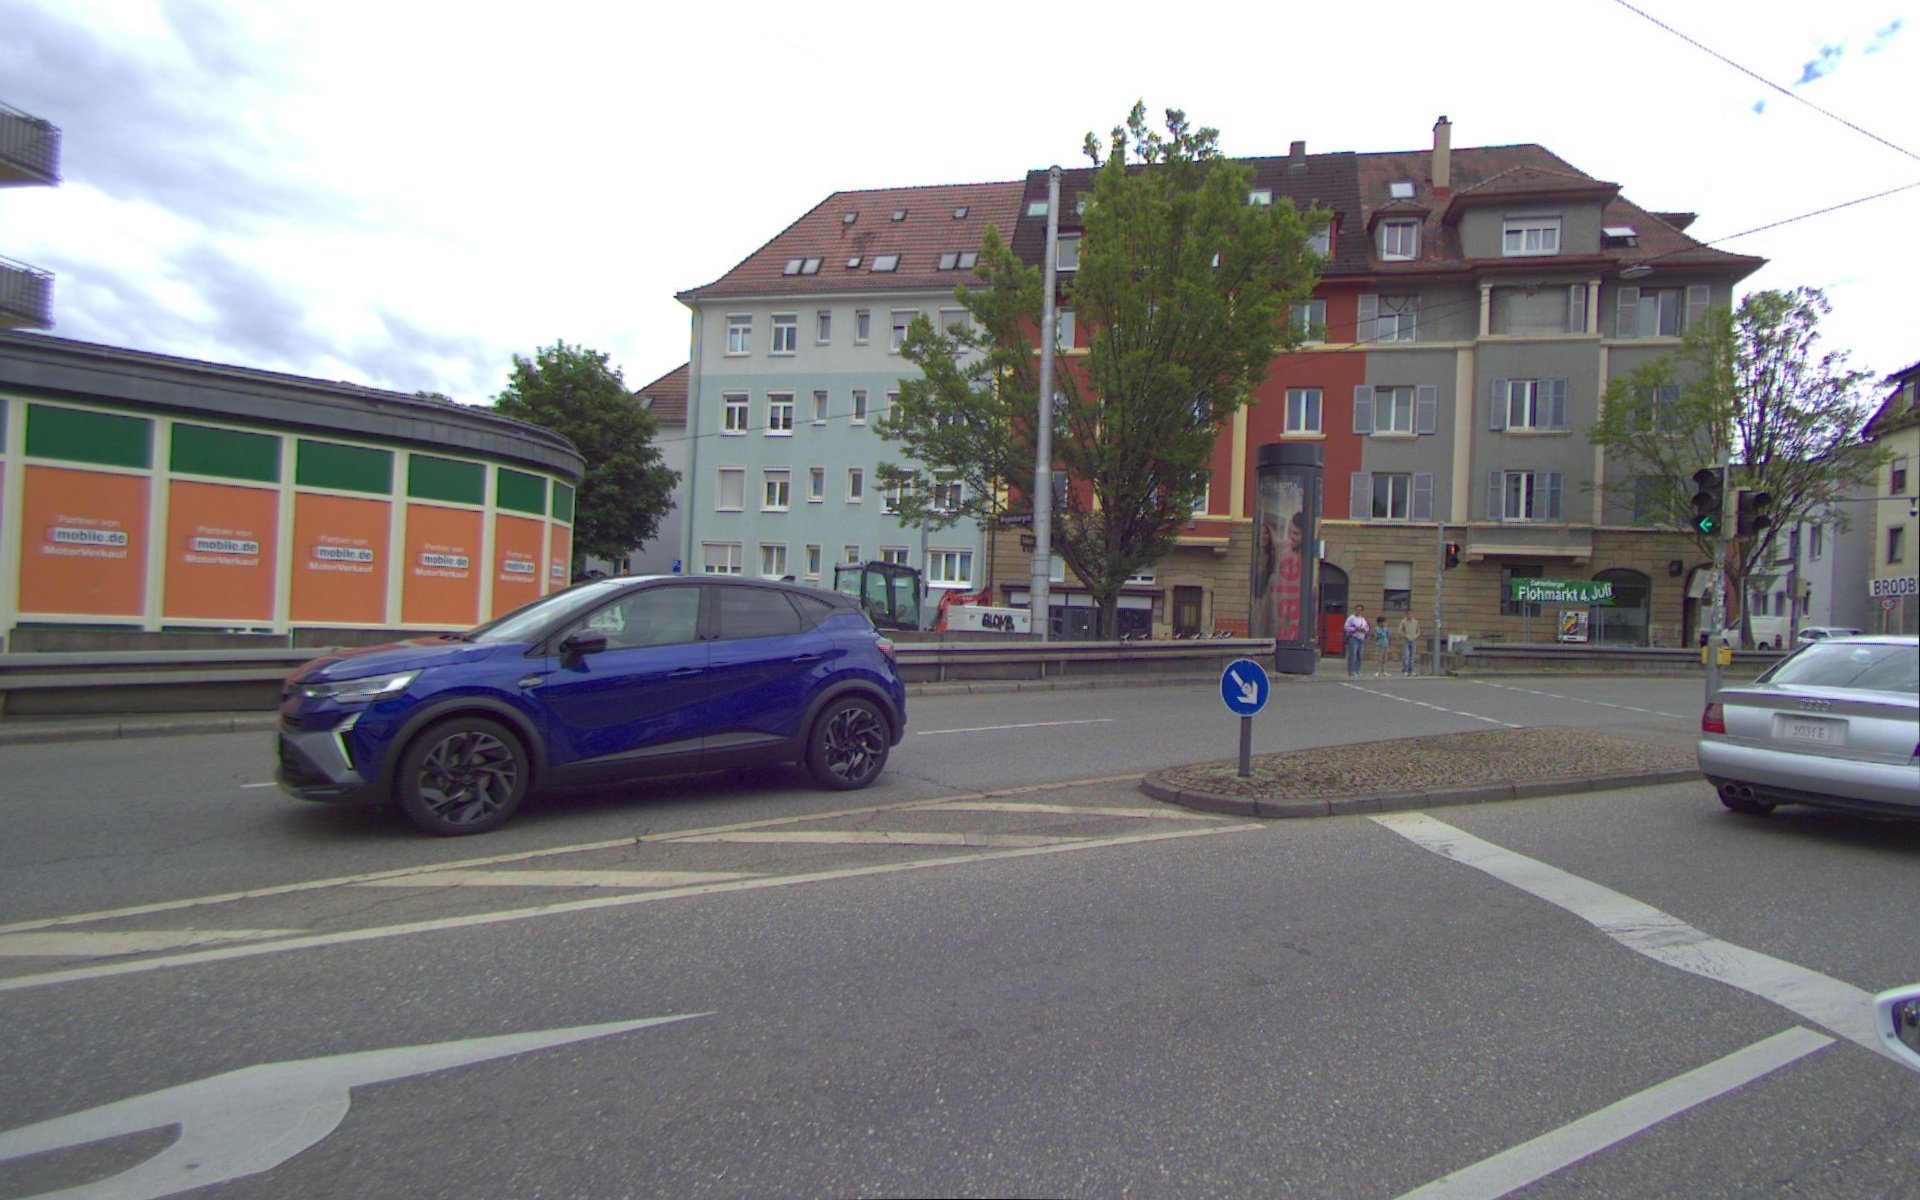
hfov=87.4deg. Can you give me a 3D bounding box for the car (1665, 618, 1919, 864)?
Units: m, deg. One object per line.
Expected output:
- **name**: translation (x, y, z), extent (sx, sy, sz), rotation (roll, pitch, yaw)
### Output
- **car**: translation (7.225, 0.883, 7.384), extent (4.075, 1.383, 1.622), rotation (1, 1, -28)

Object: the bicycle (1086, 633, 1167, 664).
- **bicycle**: translation (5.855, 1.713, 35.198), extent (2.795, 1.034, 0.814), rotation (1, 0, -24)

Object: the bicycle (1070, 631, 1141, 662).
- **bicycle**: translation (5.291, 1.685, 36.462), extent (2.624, 1.084, 0.631), rotation (1, 0, -23)

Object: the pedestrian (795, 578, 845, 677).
- **pedestrian**: translation (-2.951, 0.568, 21.221), extent (0.810, 2.041, 0.680), rotation (1, 1, 13)

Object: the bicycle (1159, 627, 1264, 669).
- **bicycle**: translation (7.709, 1.464, 30.734), extent (3.311, 1.218, 0.814), rotation (1, 0, -24)

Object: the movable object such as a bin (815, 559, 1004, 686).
- **movable object such as a bin**: translation (-0.811, 0.383, 17.963), extent (1.358, 2.040, 3.520), rotation (1, 0, 39)

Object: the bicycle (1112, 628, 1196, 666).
- **bicycle**: translation (6.501, 1.580, 33.601), extent (2.795, 1.218, 0.814), rotation (1, 0, -24)

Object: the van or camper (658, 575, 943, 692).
- **van or camper**: translation (-3.643, 0.692, 23.227), extent (5.886, 2.369, 2.689), rotation (2, 0, 17)

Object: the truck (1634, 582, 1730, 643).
- **truck**: translation (43.511, 0.724, 60.724), extent (2.645, 3.399, 5.441), rotation (3, 1, 13)

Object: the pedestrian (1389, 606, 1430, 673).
- **pedestrian**: translation (10.304, 0.893, 23.018), extent (0.643, 1.507, 0.522), rotation (1, 1, -16)

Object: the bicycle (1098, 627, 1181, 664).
- **bicycle**: translation (6.165, 1.565, 34.411), extent (2.795, 1.218, 0.814), rotation (1, 0, -24)

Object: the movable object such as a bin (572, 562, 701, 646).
- **movable object such as a bin**: translation (-9.260, 0.085, 28.324), extent (2.366, 2.099, 6.207), rotation (1, 0, -28)

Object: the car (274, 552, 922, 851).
- **car**: translation (-2.403, 0.539, 7.150), extent (4.000, 1.552, 1.773), rotation (1, 0, -38)

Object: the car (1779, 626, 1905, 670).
- **car**: translation (33.760, 1.795, 38.595), extent (1.842, 1.489, 3.978), rotation (2, -1, 12)

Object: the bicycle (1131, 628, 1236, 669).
- **bicycle**: translation (7.052, 1.527, 31.592), extent (3.311, 1.218, 0.900), rotation (1, 0, -24)

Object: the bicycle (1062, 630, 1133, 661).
- **bicycle**: translation (5.084, 1.686, 37.080), extent (2.624, 1.084, 0.631), rotation (1, 0, -23)

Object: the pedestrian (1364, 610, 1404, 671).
- **pedestrian**: translation (9.649, 0.908, 22.874), extent (0.574, 1.356, 0.574), rotation (1, 0, -16)

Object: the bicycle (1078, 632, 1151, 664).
- **bicycle**: translation (5.532, 1.714, 35.861), extent (2.625, 1.084, 0.631), rotation (1, 0, -24)

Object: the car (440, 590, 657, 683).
- **car**: translation (-7.808, 0.634, 19.516), extent (1.959, 1.573, 4.002), rotation (1, 0, 12)

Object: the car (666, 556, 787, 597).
- **car**: translation (-8.769, -0.869, 37.956), extent (4.129, 1.388, 1.768), rotation (1, 0, -44)

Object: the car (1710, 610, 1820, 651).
- **car**: translation (38.861, 1.413, 48.654), extent (2.023, 1.823, 4.337), rotation (1, 0, 4)

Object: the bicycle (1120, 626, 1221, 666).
- **bicycle**: translation (6.871, 1.504, 32.706), extent (3.311, 1.218, 0.900), rotation (1, 0, -24)

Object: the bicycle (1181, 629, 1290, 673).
- **bicycle**: translation (8.145, 1.497, 29.623), extent (3.311, 1.218, 0.814), rotation (1, 0, -24)

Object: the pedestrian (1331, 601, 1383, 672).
- **pedestrian**: translation (8.900, 0.808, 22.539), extent (0.726, 1.567, 0.792), rotation (1, 1, -16)
